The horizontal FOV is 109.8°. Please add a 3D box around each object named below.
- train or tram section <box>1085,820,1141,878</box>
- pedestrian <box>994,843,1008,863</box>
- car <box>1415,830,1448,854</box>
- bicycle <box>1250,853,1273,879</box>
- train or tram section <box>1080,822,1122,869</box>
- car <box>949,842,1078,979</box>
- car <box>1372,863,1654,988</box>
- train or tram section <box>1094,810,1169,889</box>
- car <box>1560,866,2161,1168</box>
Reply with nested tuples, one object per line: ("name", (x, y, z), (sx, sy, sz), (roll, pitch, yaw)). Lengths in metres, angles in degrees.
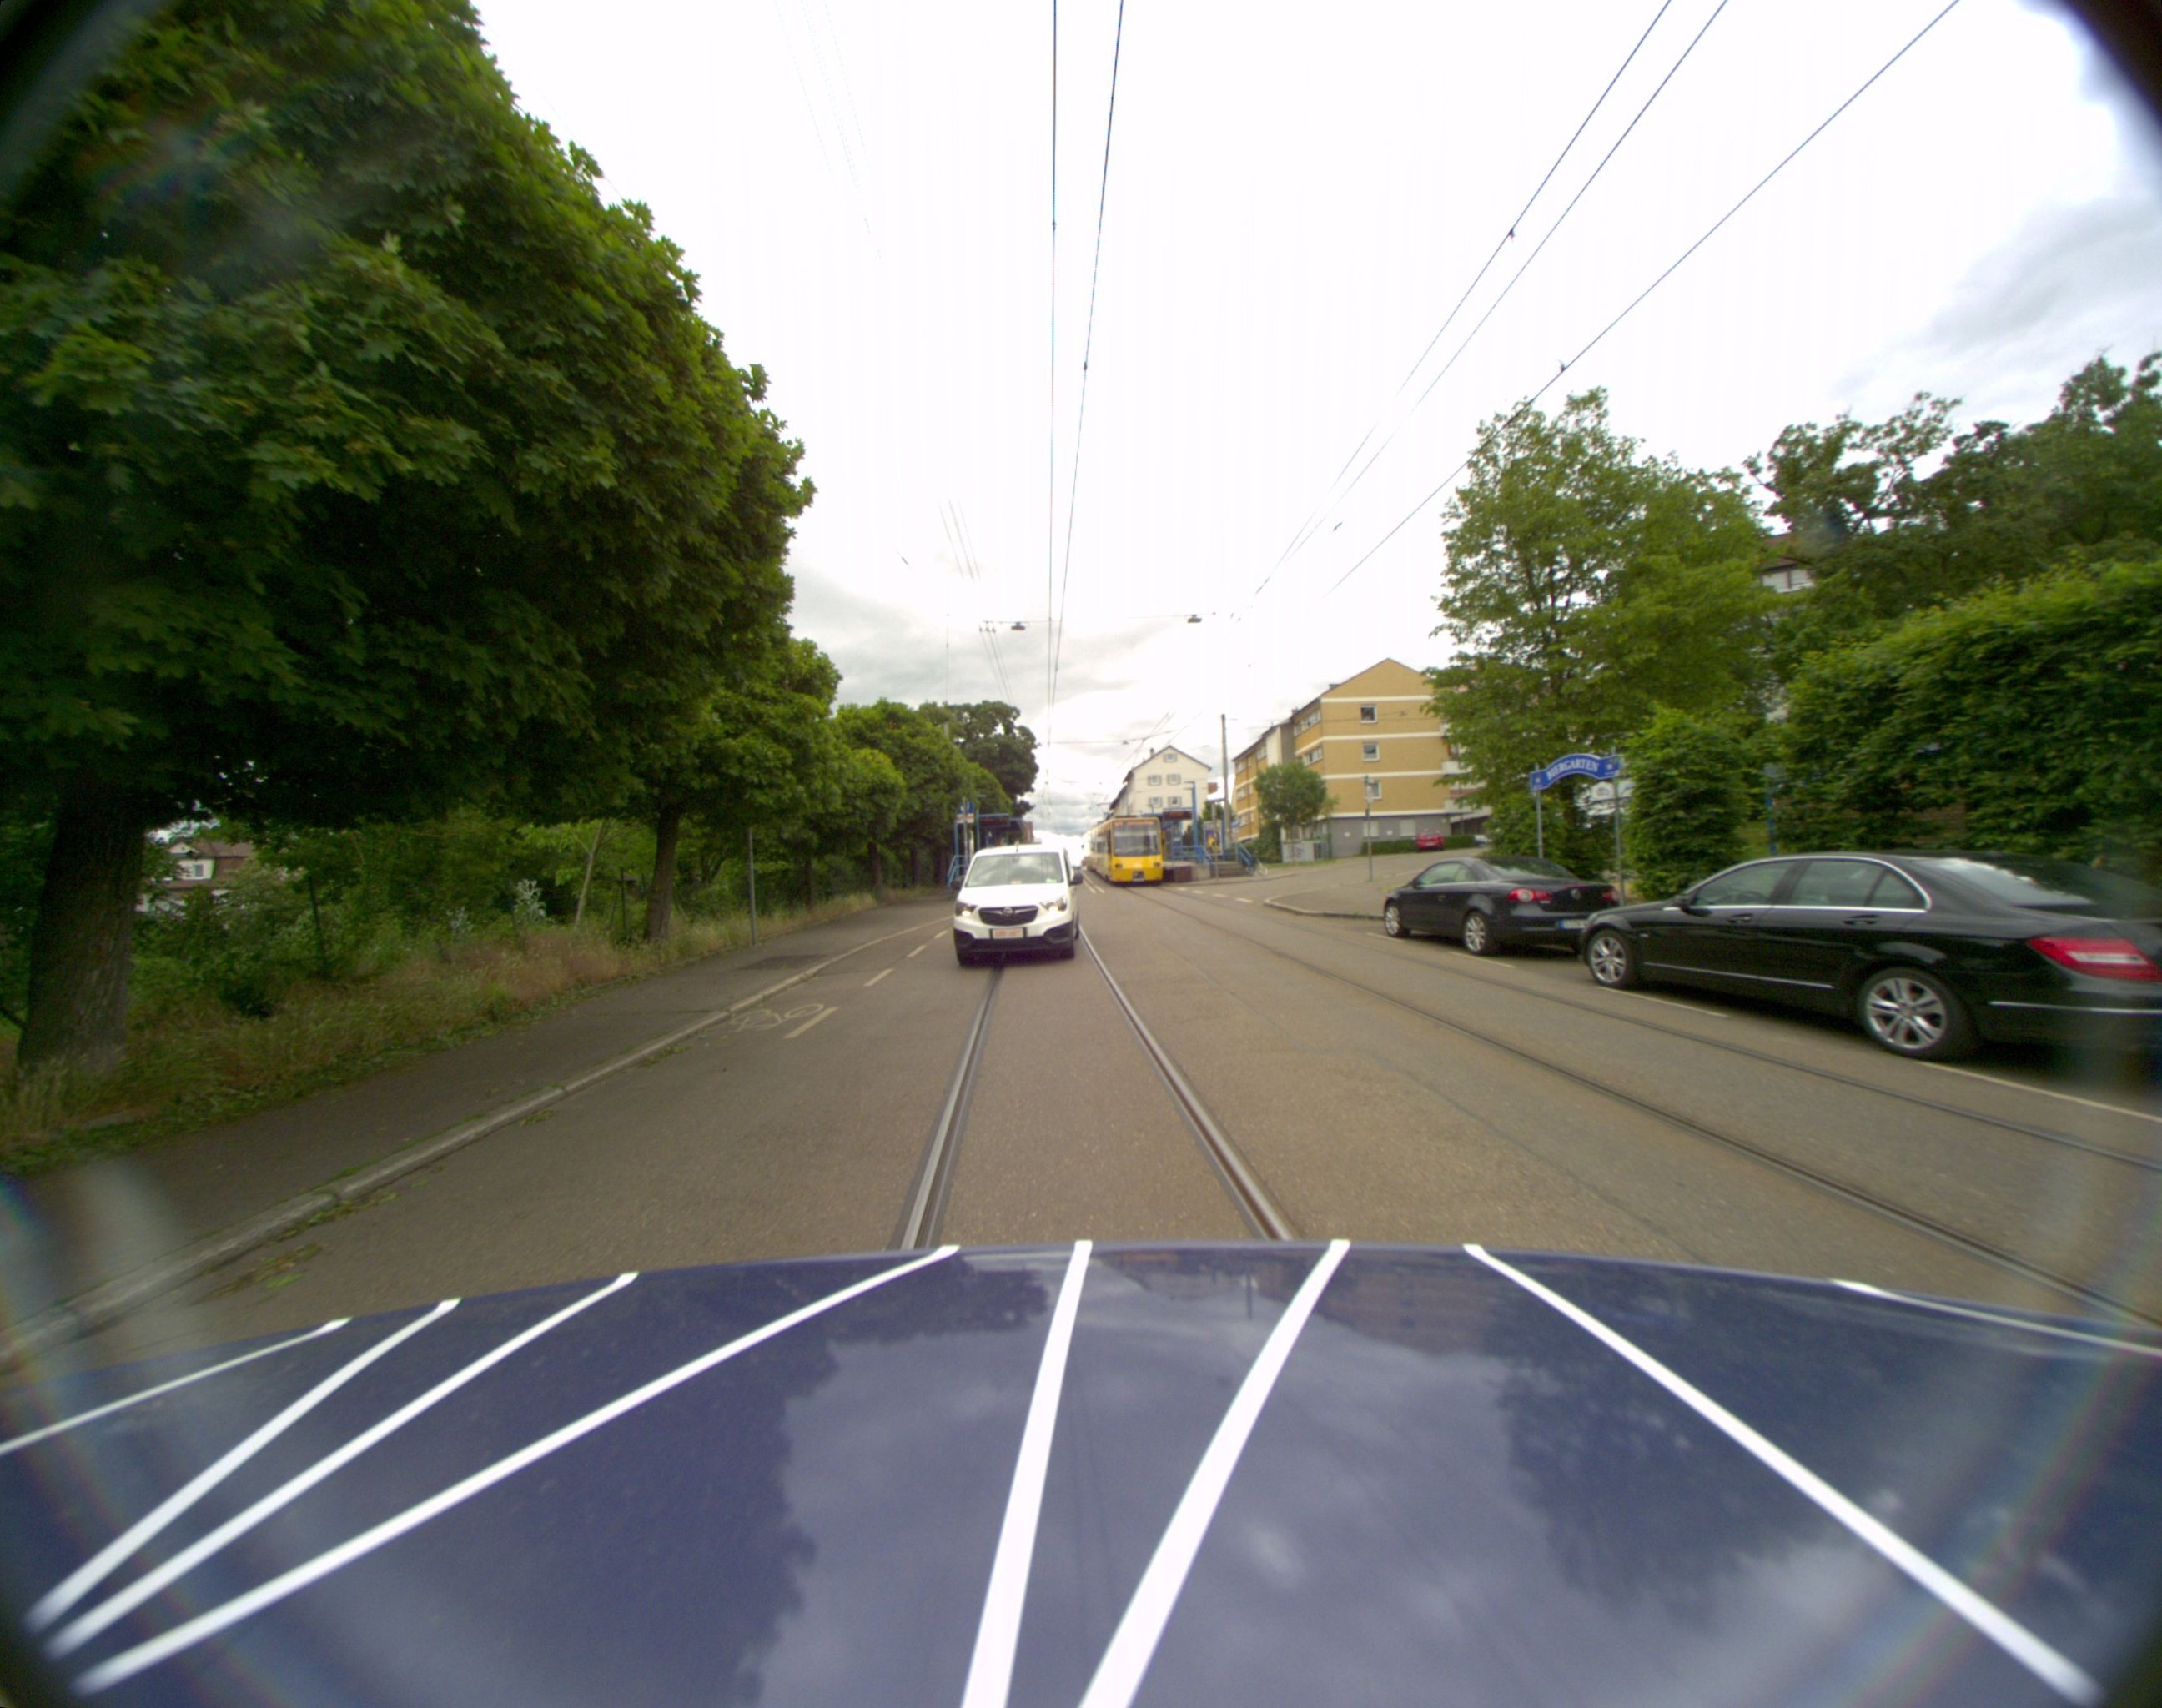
("train or tram section", (2.060, -0.349, 54.317), (2.831, 3.615, 12.126), (-3, 0, -2))
("pedestrian", (-5.233, -0.078, 49.844), (0.781, 1.307, 0.656), (-3, 1, -2))
("car", (23.236, -0.799, 50.413), (1.838, 1.455, 4.006), (-2, 0, 23))
("bicycle", (8.710, 0.577, 36.721), (0.713, 1.174, 1.487), (-2, 1, -1))
("train or tram section", (1.578, -0.740, 66.435), (2.758, 3.615, 12.126), (-3, 0, -2))
("car", (-0.969, 0.800, 12.928), (1.730, 1.850, 4.420), (-3, 0, -1))
("car", (6.256, 0.926, 11.648), (1.795, 1.396, 4.159), (-2, 1, -3))
("train or tram section", (2.502, -0.261, 42.154), (2.857, 3.615, 12.127), (-3, 0, -2))
("car", (6.321, 0.888, 6.207), (1.845, 1.379, 4.438), (-2, 1, -3))
